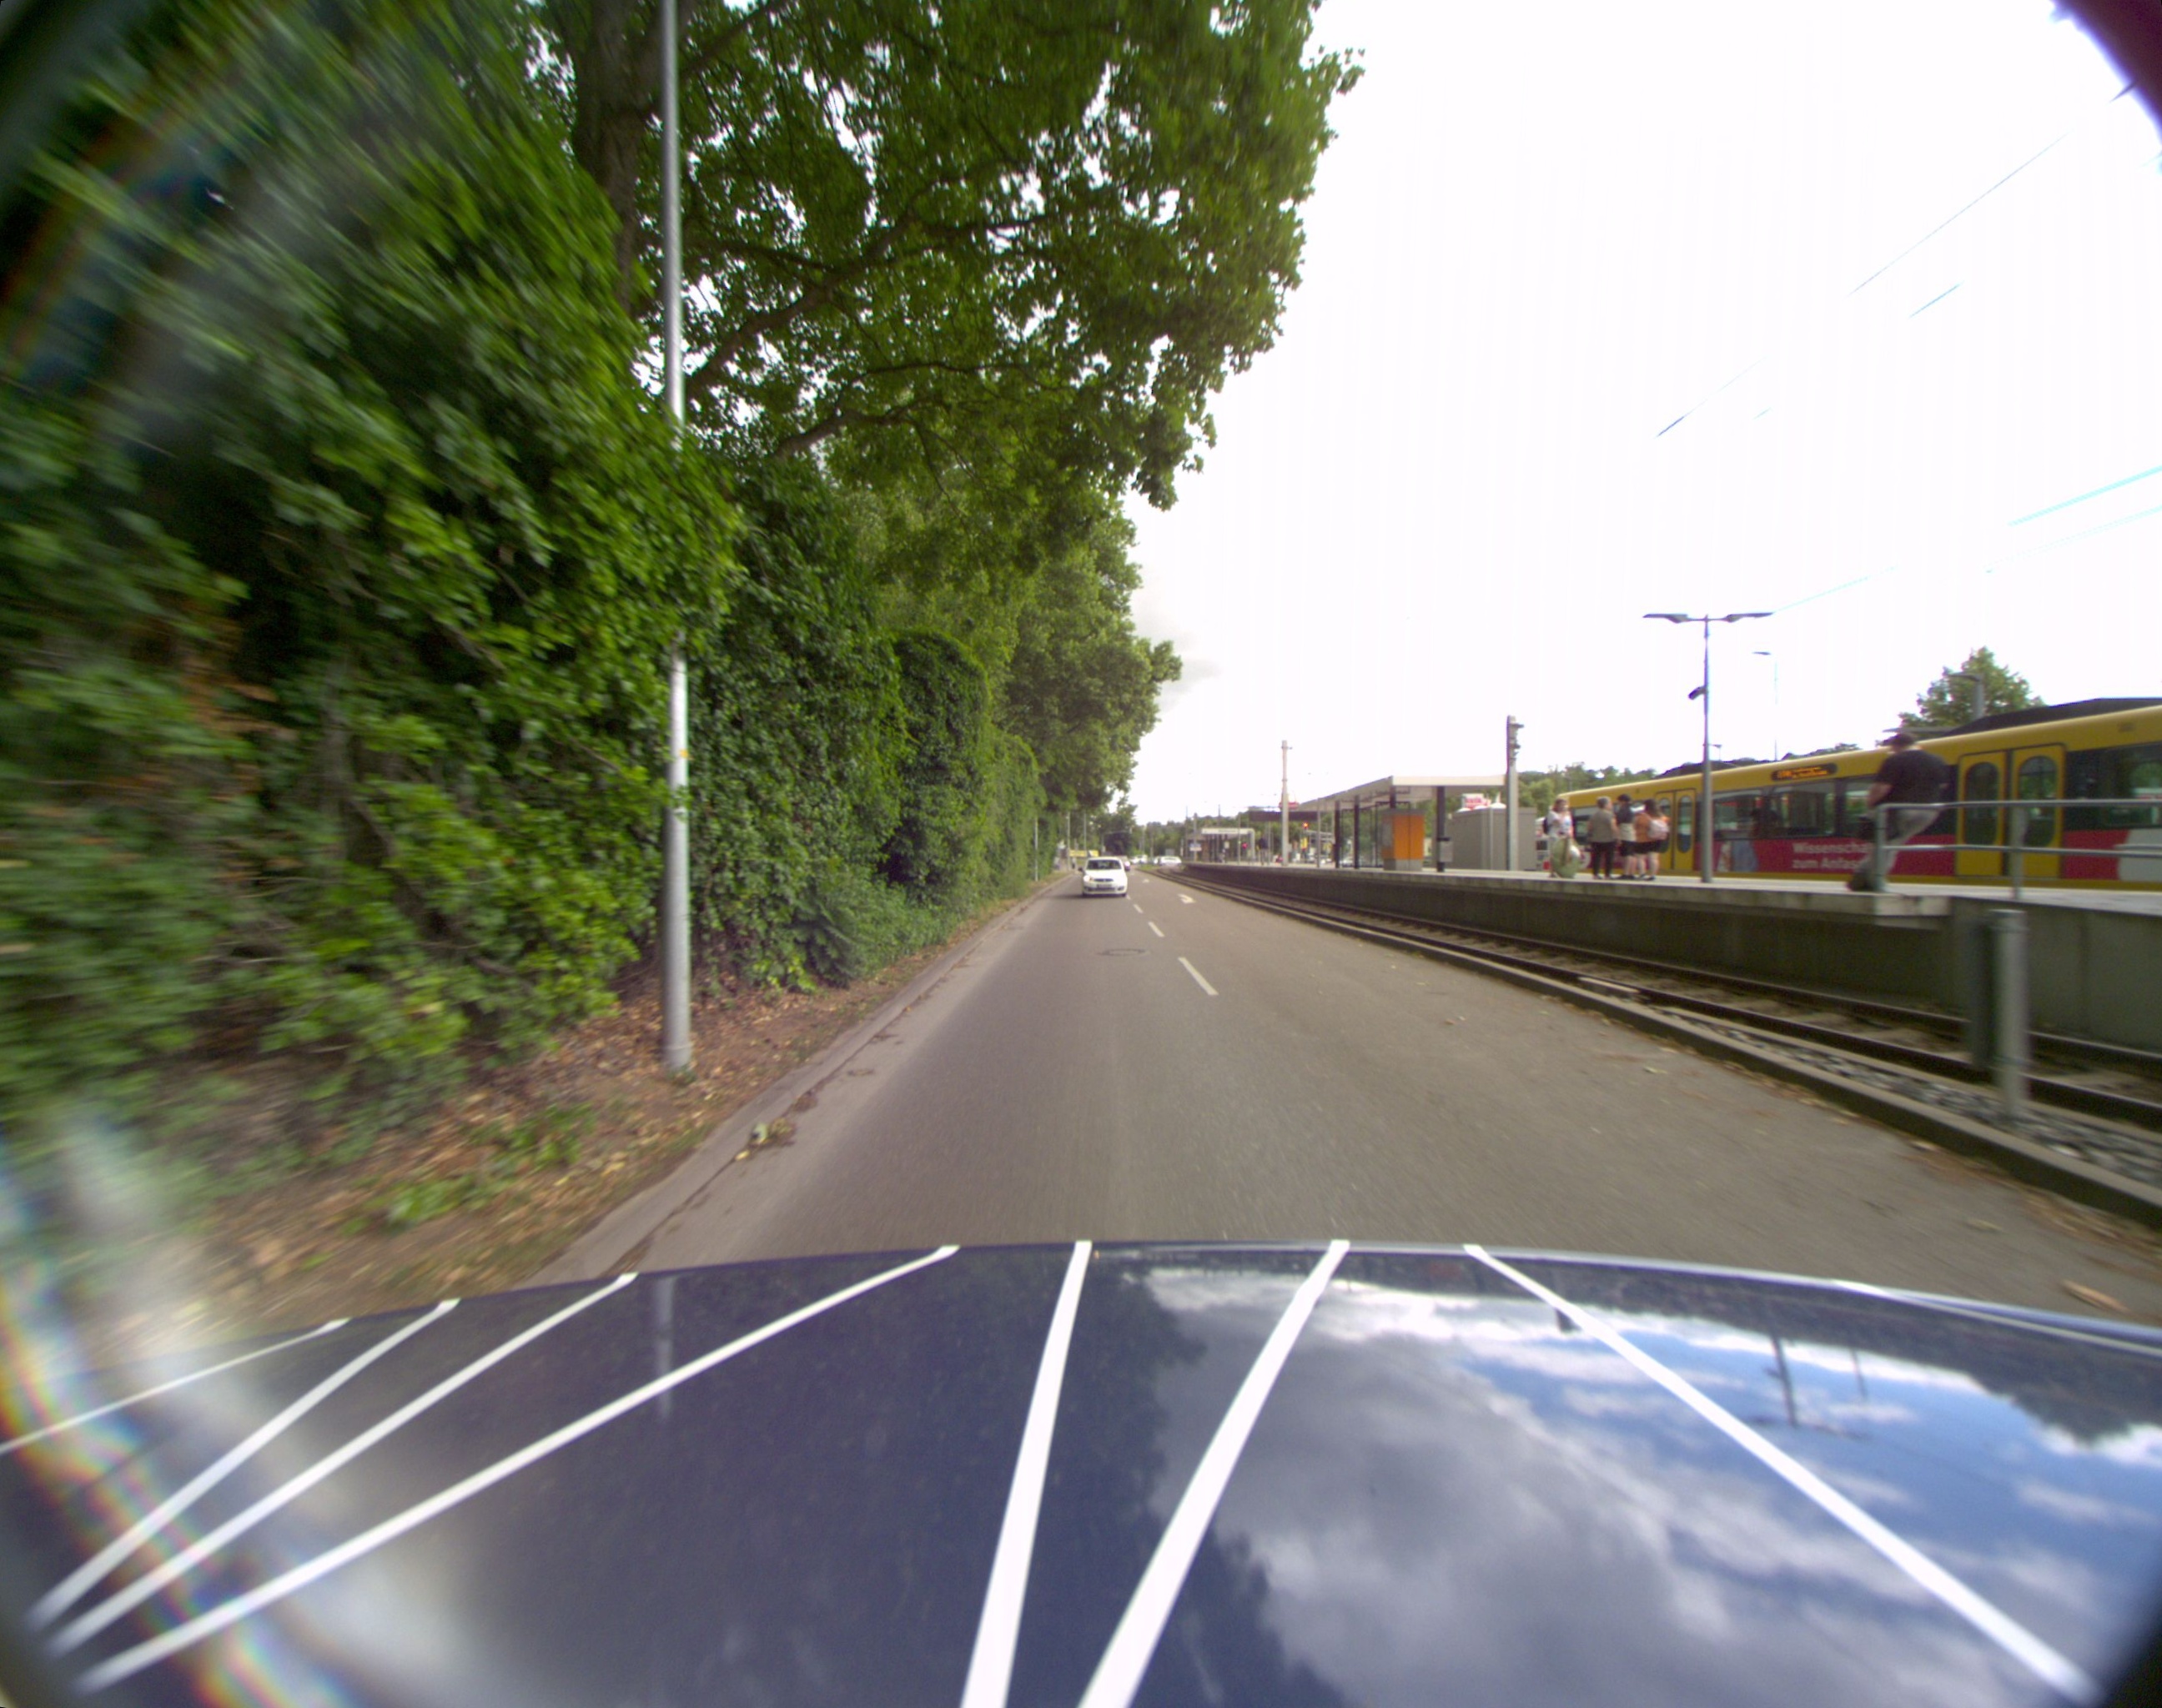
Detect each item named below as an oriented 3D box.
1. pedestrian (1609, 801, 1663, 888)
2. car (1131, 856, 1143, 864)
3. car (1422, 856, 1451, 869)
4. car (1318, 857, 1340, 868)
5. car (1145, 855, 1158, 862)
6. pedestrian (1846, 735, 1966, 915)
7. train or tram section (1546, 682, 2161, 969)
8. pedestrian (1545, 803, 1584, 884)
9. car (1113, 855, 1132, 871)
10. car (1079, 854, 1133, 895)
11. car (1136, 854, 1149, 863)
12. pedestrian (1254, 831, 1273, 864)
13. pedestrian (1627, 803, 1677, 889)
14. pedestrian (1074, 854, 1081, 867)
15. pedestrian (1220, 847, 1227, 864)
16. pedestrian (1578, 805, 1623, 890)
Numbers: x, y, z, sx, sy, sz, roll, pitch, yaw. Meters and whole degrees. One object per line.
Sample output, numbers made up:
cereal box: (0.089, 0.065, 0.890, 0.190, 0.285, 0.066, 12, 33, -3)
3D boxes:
pedestrian: (9.625, -0.159, 13.183, 0.477, 1.474, 0.542, 1, 0, -11)
car: (10.980, 1.147, 147.761, 1.718, 1.410, 4.004, 1, 0, 13)
car: (38.654, 0.907, 82.644, 1.616, 1.342, 3.637, 0, 0, 4)
car: (30.681, 1.028, 94.164, 1.617, 1.342, 4.031, 0, 0, 3)
car: (15.104, 0.908, 162.282, 1.996, 1.527, 4.005, 1, 0, 14)
pedestrian: (8.248, -0.266, 7.640, 0.878, 1.668, 0.743, 1, 1, -45)
train or tram section: (16.199, -0.394, 15.649, 2.763, 3.860, 18.635, 0, 0, 3)
pedestrian: (9.051, -0.183, 14.223, 0.519, 1.474, 0.583, 2, 1, 40)
car: (4.268, 0.893, 77.566, 1.895, 1.607, 4.510, 0, 0, 5)
car: (0.874, 0.727, 28.770, 1.674, 1.439, 3.603, 0, 0, -4)
car: (12.462, 0.922, 153.949, 1.807, 1.814, 4.004, 0, 0, 14)
pedestrian: (9.840, -0.327, 41.006, 0.750, 1.734, 0.937, 1, 0, 2)
pedestrian: (9.502, -0.134, 12.644, 0.480, 1.397, 0.411, 1, 0, 0)
pedestrian: (-0.452, 0.825, 96.155, 0.755, 1.505, 0.671, 1, 0, 2)
pedestrian: (13.467, 0.165, 71.935, 0.585, 1.611, 0.572, 1, 0, 3)
pedestrian: (9.120, -0.106, 13.360, 0.361, 1.456, 0.639, 0, 0, 1)
